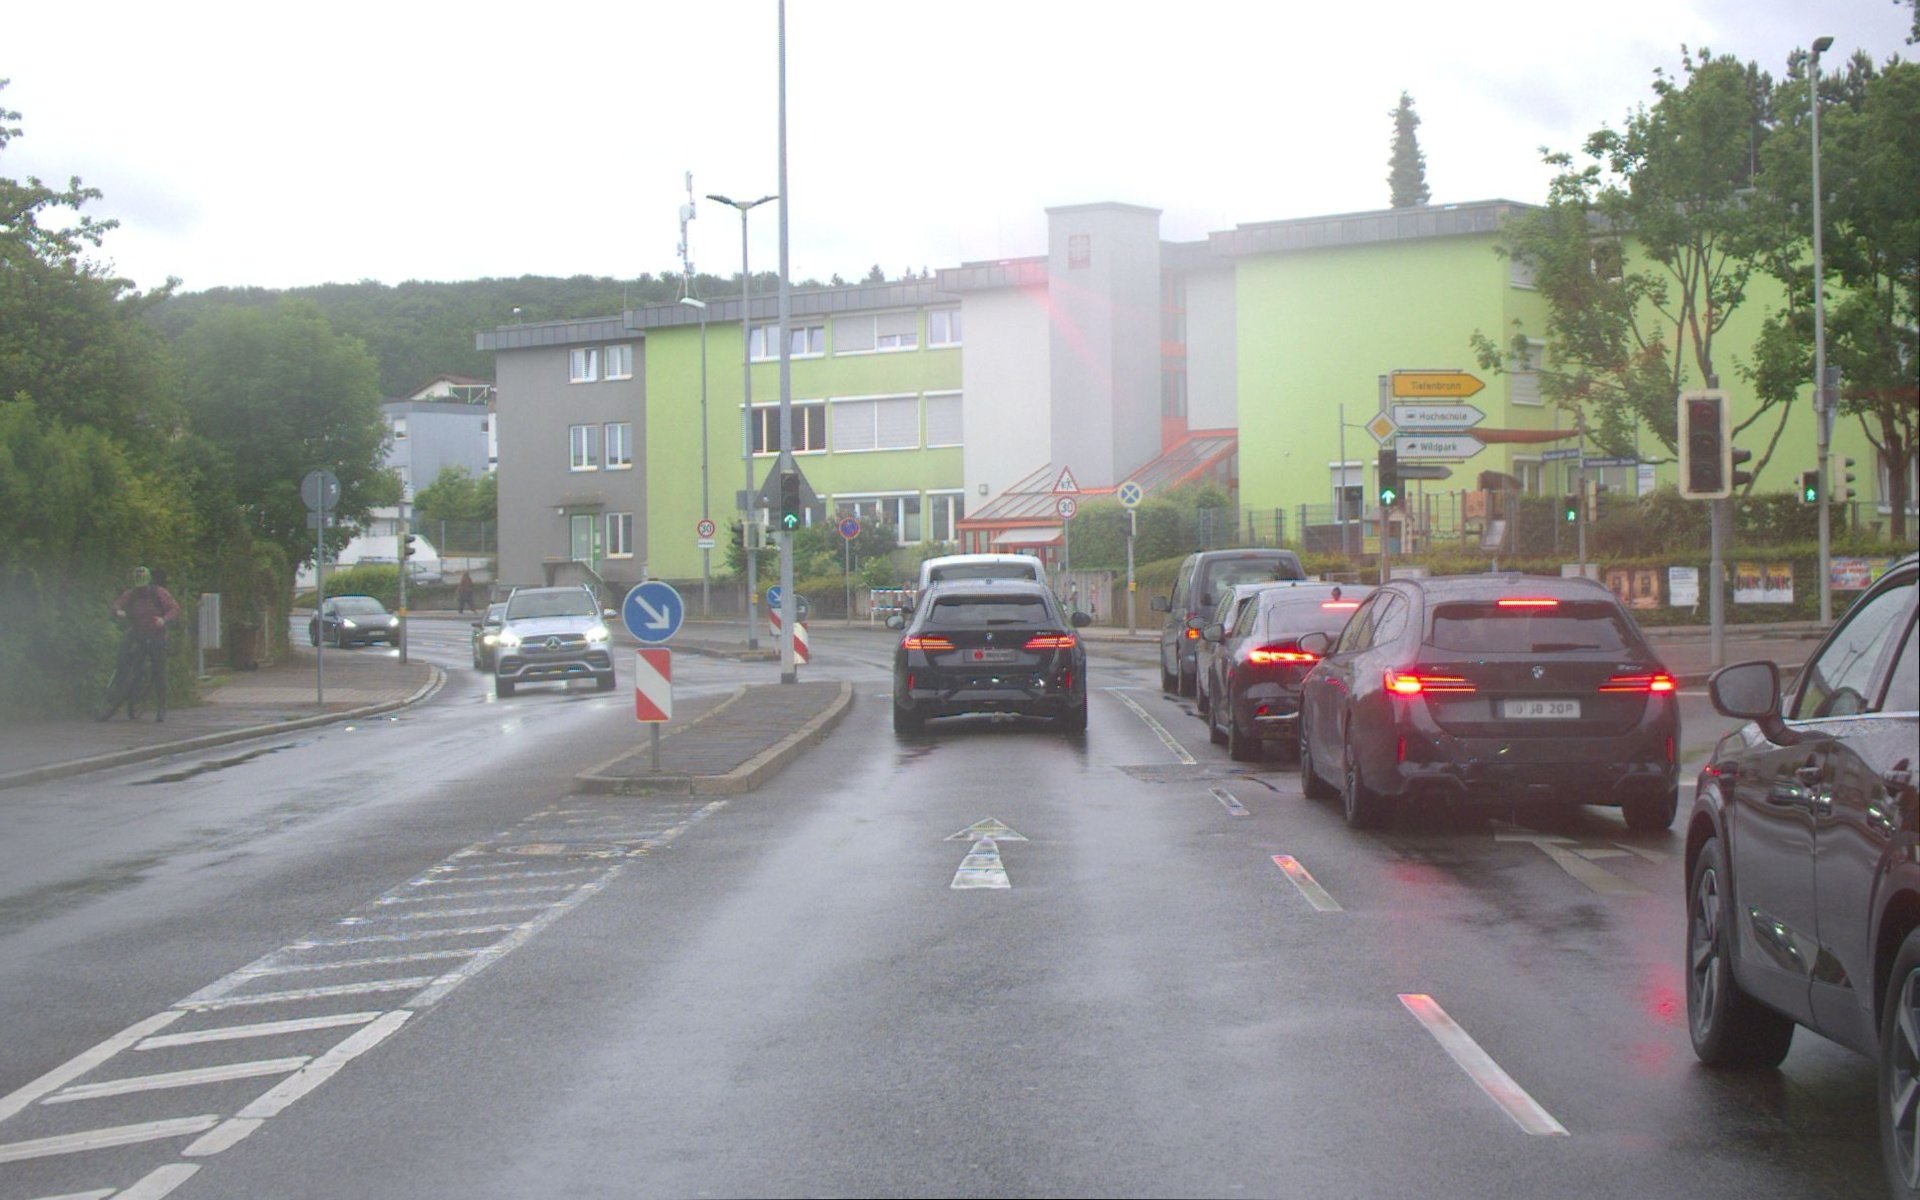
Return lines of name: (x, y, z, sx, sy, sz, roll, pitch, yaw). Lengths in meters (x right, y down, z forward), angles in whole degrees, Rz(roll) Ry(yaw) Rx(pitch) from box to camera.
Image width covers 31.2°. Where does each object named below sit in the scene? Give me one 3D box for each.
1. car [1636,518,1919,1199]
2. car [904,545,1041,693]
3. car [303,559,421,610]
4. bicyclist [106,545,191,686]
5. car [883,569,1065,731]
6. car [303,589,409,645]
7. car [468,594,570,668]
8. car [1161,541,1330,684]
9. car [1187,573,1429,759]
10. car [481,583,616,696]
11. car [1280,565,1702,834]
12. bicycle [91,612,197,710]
car: (3.015, 0.608, 8.920, 1.790, 1.598, 4.253, 1, 2, 2)
car: (0.175, 0.202, 45.312, 1.717, 1.838, 4.087, 1, 1, 1)
car: (-23.939, -0.617, 137.576, 4.393, 1.766, 2.000, -3, 0, -16)
bicyclist: (-9.302, 0.174, 39.426, 0.764, 1.606, 0.868, 0, 0, -1)
car: (0.091, 0.464, 34.774, 1.682, 1.501, 3.774, -2, 1, -2)
car: (-17.811, 0.524, 101.316, 1.792, 1.484, 4.154, -3, 0, -28)
car: (-9.680, 0.660, 75.244, 1.993, 1.568, 4.001, 0, 0, -10)
car: (3.604, 0.113, 43.955, 1.783, 1.728, 4.087, 1, 1, 0)
car: (2.909, 0.507, 29.538, 1.706, 1.422, 4.508, -1, 1, 1)
car: (-6.890, 0.632, 57.988, 2.041, 1.710, 4.482, -2, 1, -5)
car: (3.180, 0.530, 21.536, 1.905, 1.453, 4.778, -1, 1, 0)
bicycle: (-9.334, 0.681, 39.391, 0.747, 1.082, 1.989, 0, 0, -1)
